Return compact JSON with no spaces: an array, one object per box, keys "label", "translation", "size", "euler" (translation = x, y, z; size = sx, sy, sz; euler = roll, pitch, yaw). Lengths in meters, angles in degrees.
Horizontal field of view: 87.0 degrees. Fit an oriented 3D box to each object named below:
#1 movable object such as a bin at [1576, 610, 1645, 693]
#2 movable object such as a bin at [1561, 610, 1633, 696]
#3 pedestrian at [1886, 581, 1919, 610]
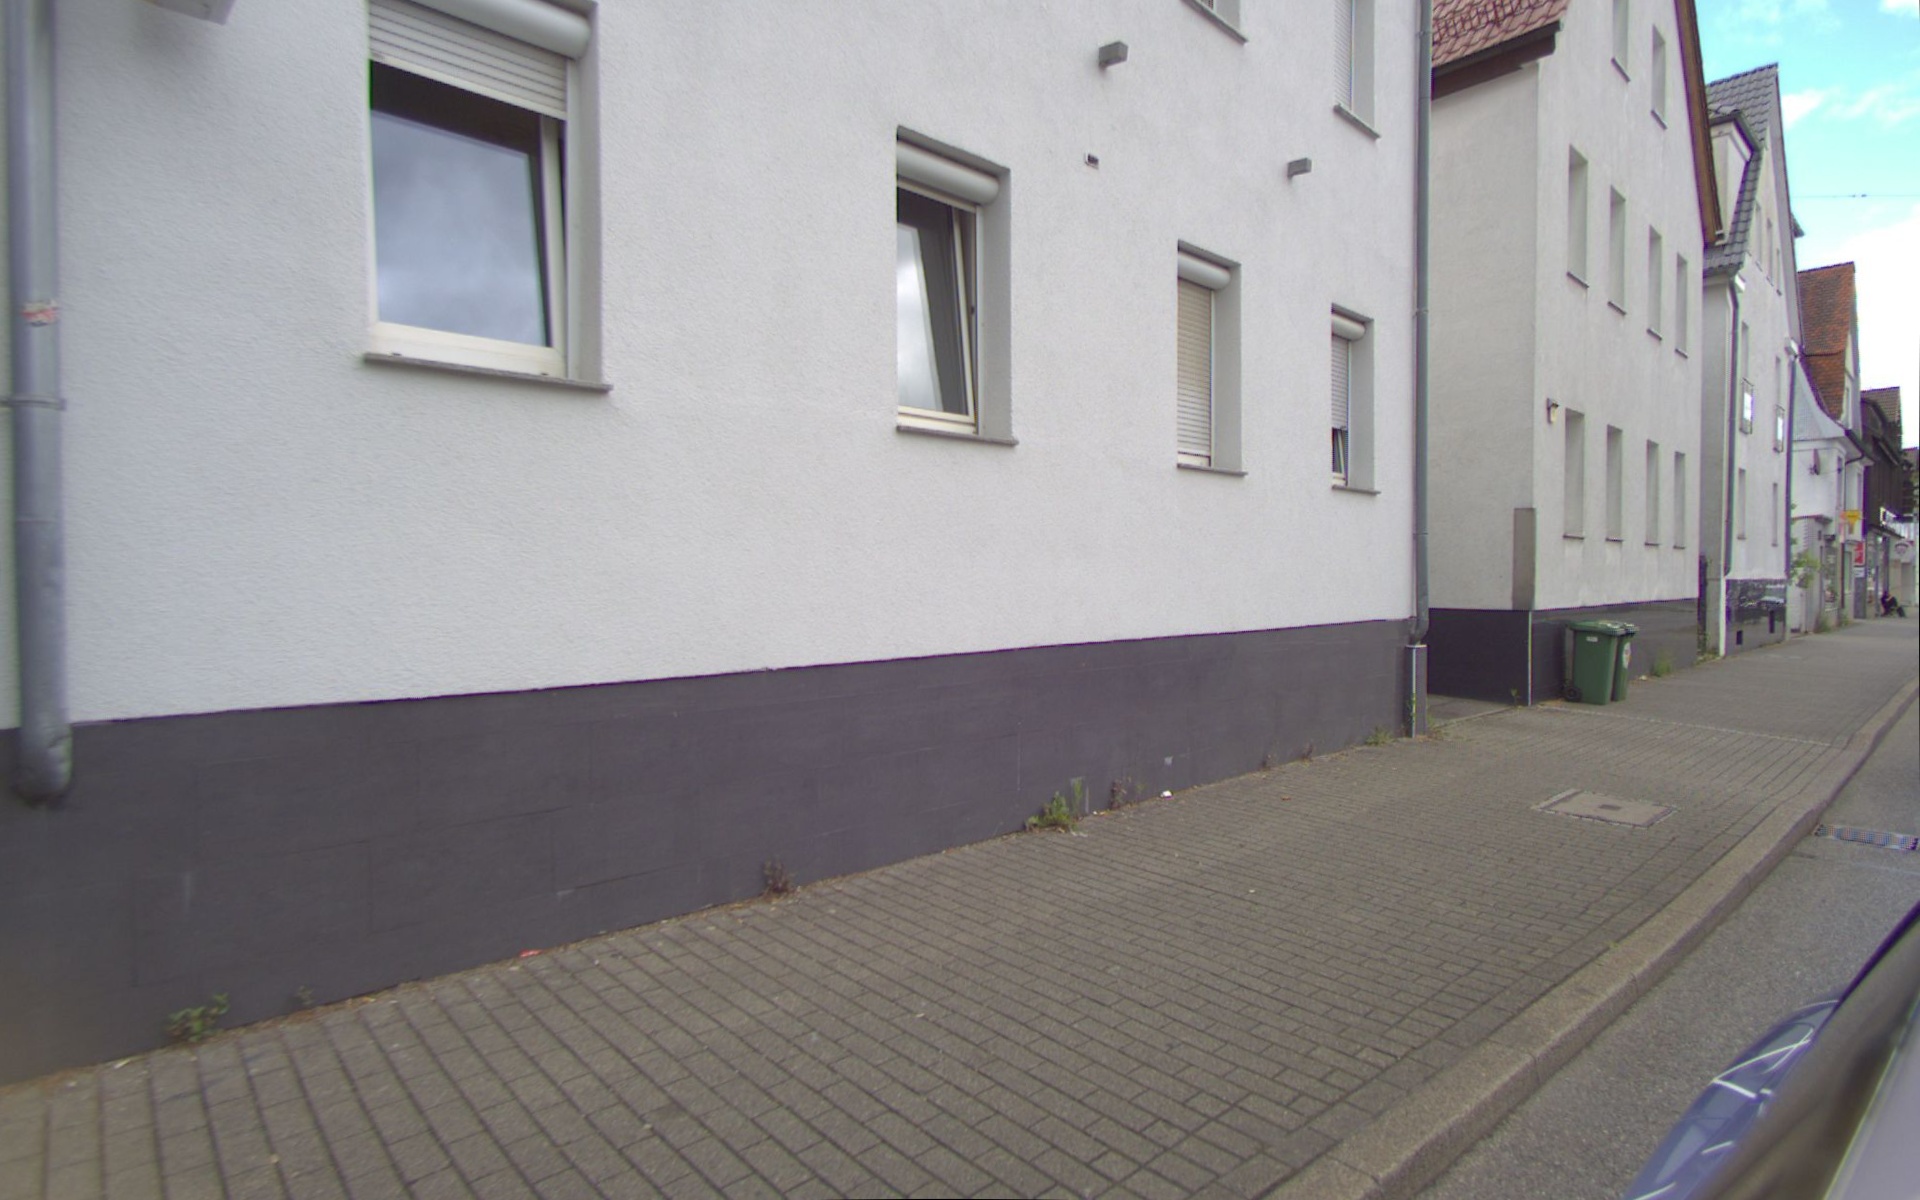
[{"label":"movable object such as a bin","translation":[7.727,0.596,12.022],"size":[0.510,0.914,0.565],"euler":[-1,3,-42]},{"label":"movable object such as a bin","translation":[7.312,0.592,11.624],"size":[0.510,0.914,0.565],"euler":[-1,3,-42]},{"label":"pedestrian","translation":[43.748,-0.216,46.951],"size":[0.653,1.295,0.985],"euler":[0,2,-30]}]
